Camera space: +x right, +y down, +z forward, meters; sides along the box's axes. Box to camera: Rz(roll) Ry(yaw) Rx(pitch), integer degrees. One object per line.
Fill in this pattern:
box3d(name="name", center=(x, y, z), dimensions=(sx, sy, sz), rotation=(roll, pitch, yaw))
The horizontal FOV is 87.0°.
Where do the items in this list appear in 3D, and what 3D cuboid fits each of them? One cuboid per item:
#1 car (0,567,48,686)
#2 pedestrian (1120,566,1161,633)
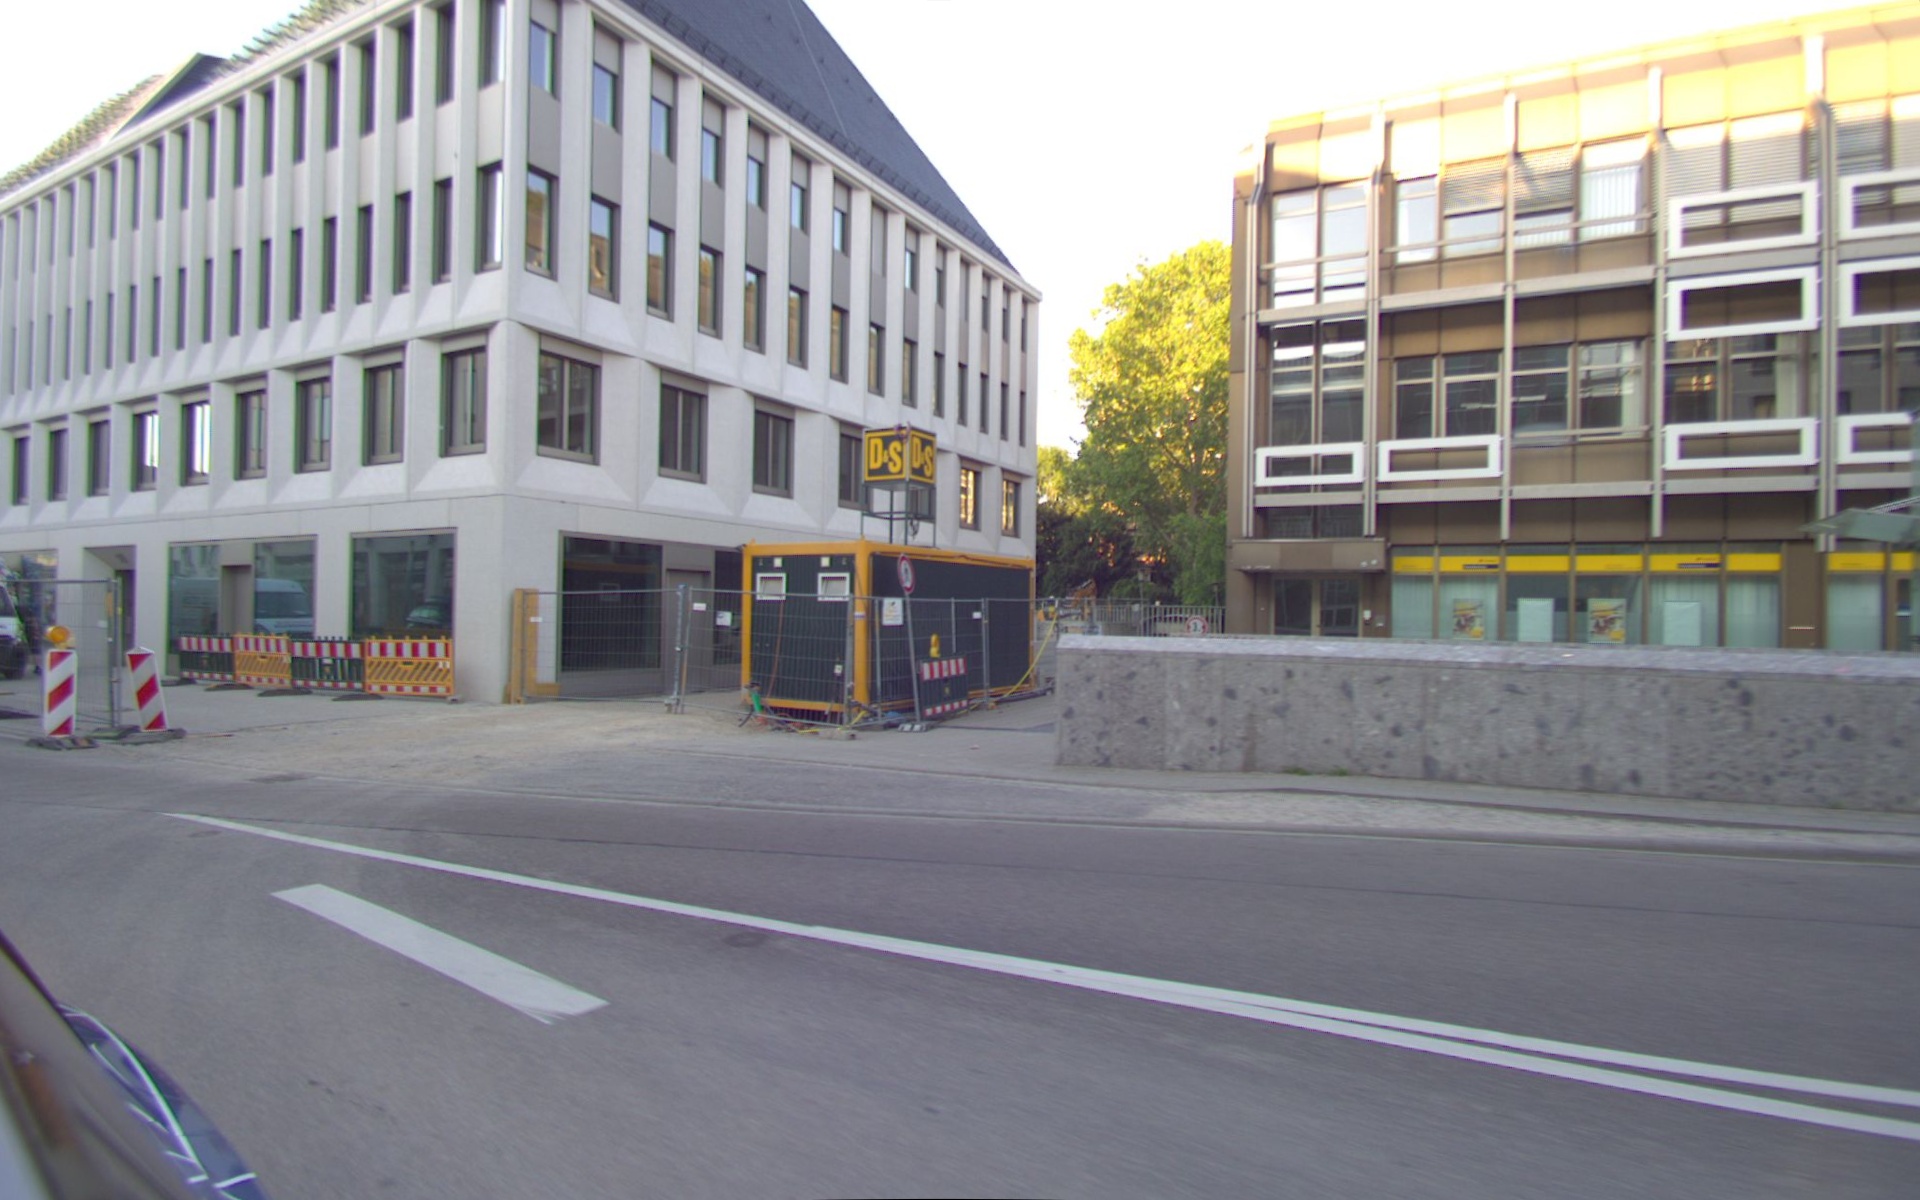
box3d(name="car", center=(-22.753, 0.544, 22.295), dimensions=(5.974, 2.489, 2.159), rotation=(0, -1, 30))
box3d(name="pedestrian", center=(5.582, -0.010, 31.274), dimensions=(0.942, 2.029, 0.880), rotation=(-1, -2, 36))
